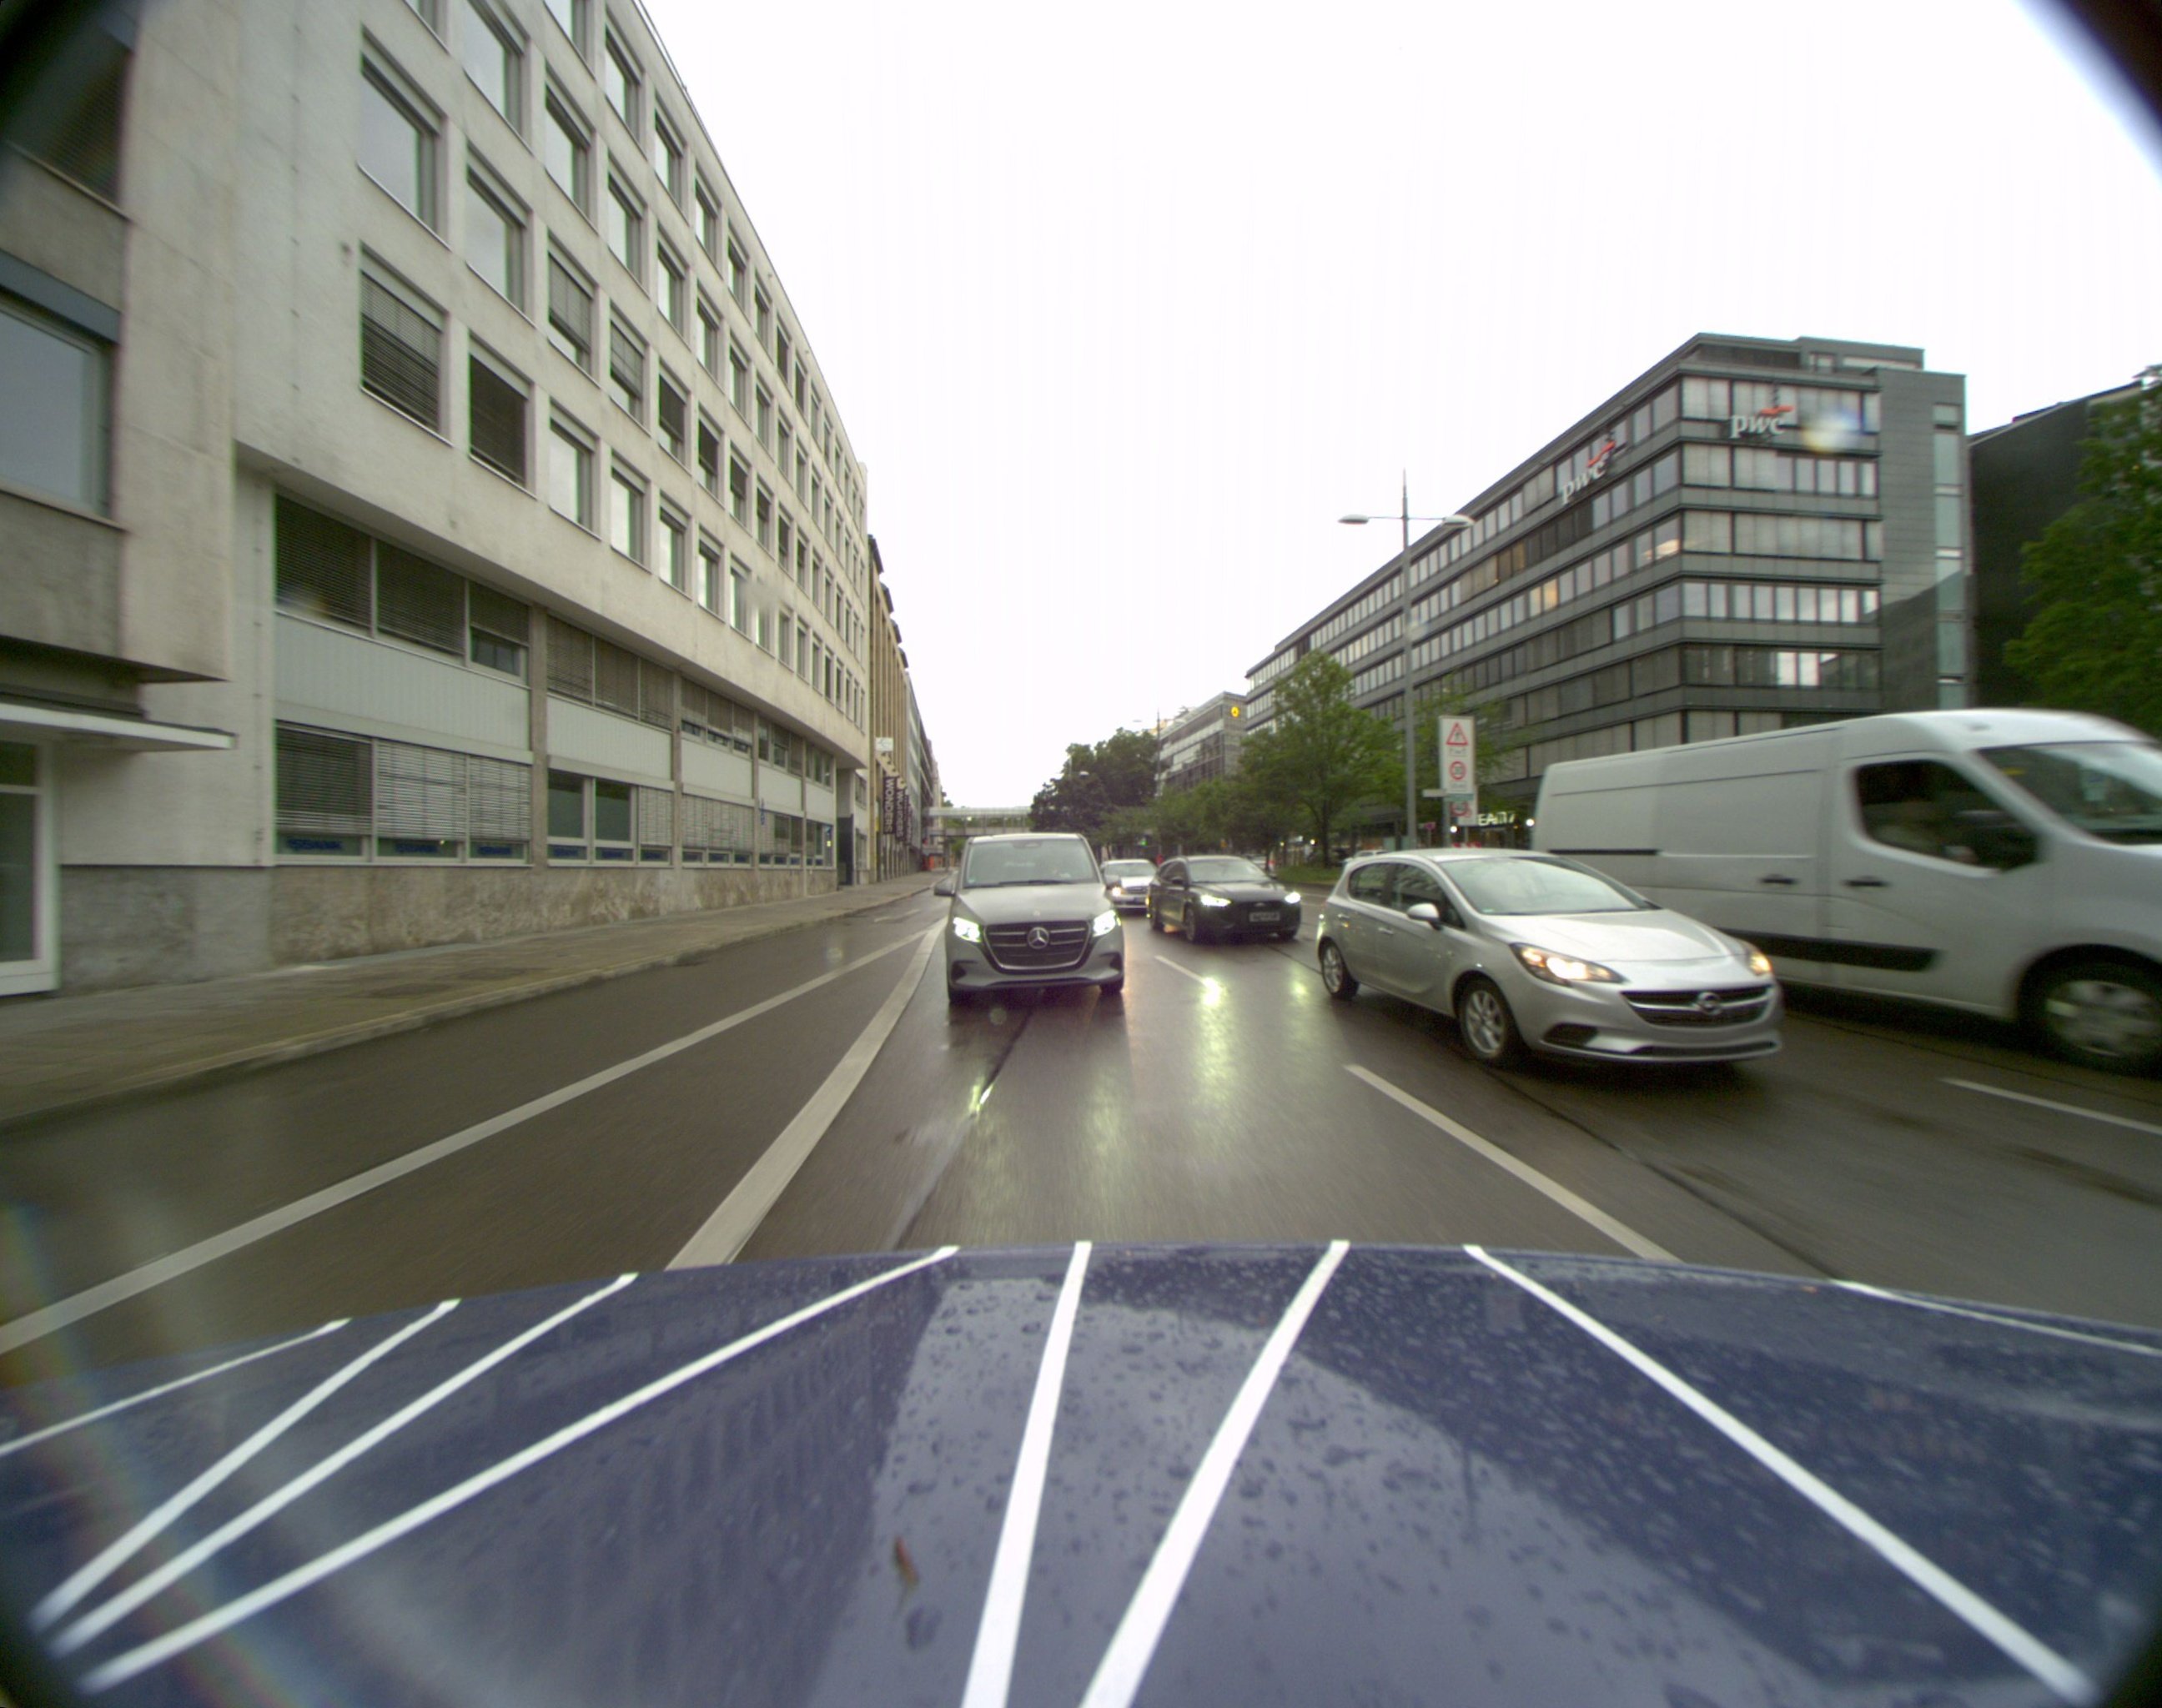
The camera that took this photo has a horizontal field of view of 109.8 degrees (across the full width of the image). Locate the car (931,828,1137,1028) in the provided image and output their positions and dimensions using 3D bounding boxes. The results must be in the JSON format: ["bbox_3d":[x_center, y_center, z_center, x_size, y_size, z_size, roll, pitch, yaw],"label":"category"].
[{"bbox_3d":[-0.666,0.711,9.855,1.917,1.844,5.024,-2,0,-5],"label":"car"}]

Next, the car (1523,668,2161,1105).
[{"bbox_3d":[6.607,0.161,6.309,1.953,2.426,5.475,-2,0,-10],"label":"car"}]

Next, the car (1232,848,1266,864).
[{"bbox_3d":[16.627,0.233,75.331,2.000,1.498,3.997,-2,0,-9],"label":"car"}]

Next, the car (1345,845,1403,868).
[{"bbox_3d":[20.209,0.172,52.555,2.000,1.498,3.997,-2,0,-9],"label":"car"}]

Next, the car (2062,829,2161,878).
[{"bbox_3d":[37.141,-0.040,26.540,3.763,1.575,1.848,-2,0,-7],"label":"car"}]

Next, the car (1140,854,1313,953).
[{"bbox_3d":[2.415,0.765,13.703,1.777,1.427,4.092,-2,0,-8],"label":"car"}]

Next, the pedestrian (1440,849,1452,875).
[{"bbox_3d":[28.420,0.603,59.154,0.575,2.002,0.461,-2,1,-9],"label":"pedestrian"}]

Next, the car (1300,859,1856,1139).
[{"bbox_3d":[3.309,0.793,6.090,1.653,1.427,3.873,-2,0,-5],"label":"car"}]

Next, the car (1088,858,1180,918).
[{"bbox_3d":[1.320,0.824,20.529,1.777,1.372,4.092,-2,0,-6],"label":"car"}]

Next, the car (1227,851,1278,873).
[{"bbox_3d":[11.352,0.511,50.529,1.752,1.365,3.995,-2,0,-13],"label":"car"}]

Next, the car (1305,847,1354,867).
[{"bbox_3d":[19.226,0.229,58.951,2.000,1.498,4.104,-2,0,-9],"label":"car"}]

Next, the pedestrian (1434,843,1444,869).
[{"bbox_3d":[27.135,0.146,57.598,0.541,2.002,0.297,-2,1,-9],"label":"pedestrian"}]
